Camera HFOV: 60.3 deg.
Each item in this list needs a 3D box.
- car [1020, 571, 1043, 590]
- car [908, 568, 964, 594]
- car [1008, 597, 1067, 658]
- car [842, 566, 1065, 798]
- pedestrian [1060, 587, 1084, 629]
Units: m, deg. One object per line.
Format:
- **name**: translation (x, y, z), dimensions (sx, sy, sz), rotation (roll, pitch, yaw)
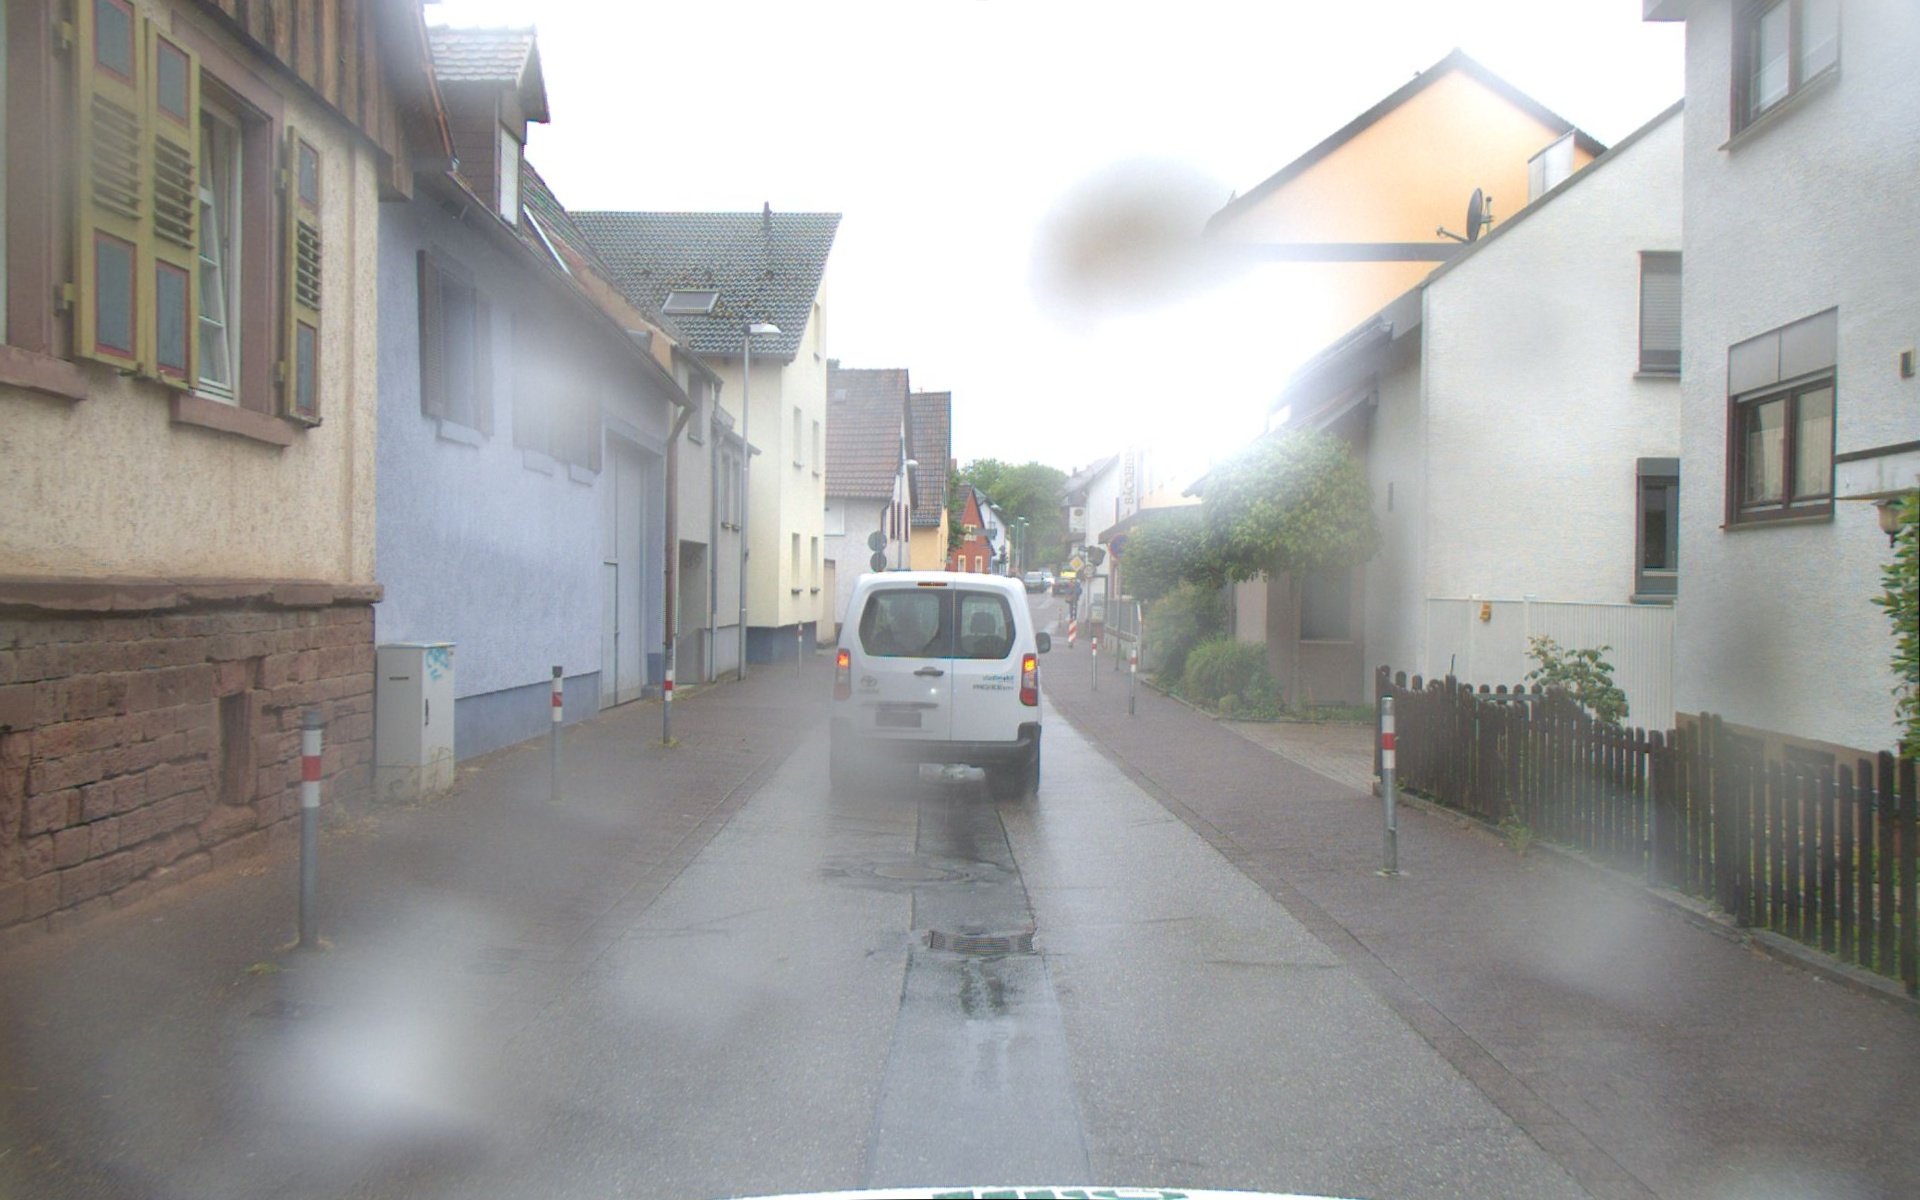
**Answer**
- **car**: translation (5.965, -1.623, 138.338), dimensions (1.555, 1.466, 3.769), rotation (2, 0, 7)
- **car**: translation (-1.672, -1.332, 114.484), dimensions (3.374, 1.586, 1.986), rotation (-3, 2, -23)
- **car**: translation (2.741, 0.945, 57.896), dimensions (1.952, 2.049, 4.002), rotation (0, 0, 3)
- **car**: translation (-0.054, 0.647, 14.988), dimensions (1.738, 1.811, 4.000), rotation (0, 0, 0)
- **pedestrian**: translation (5.286, 0.375, 78.179), dimensions (1.029, 1.926, 0.877), rotation (0, 0, 0)
